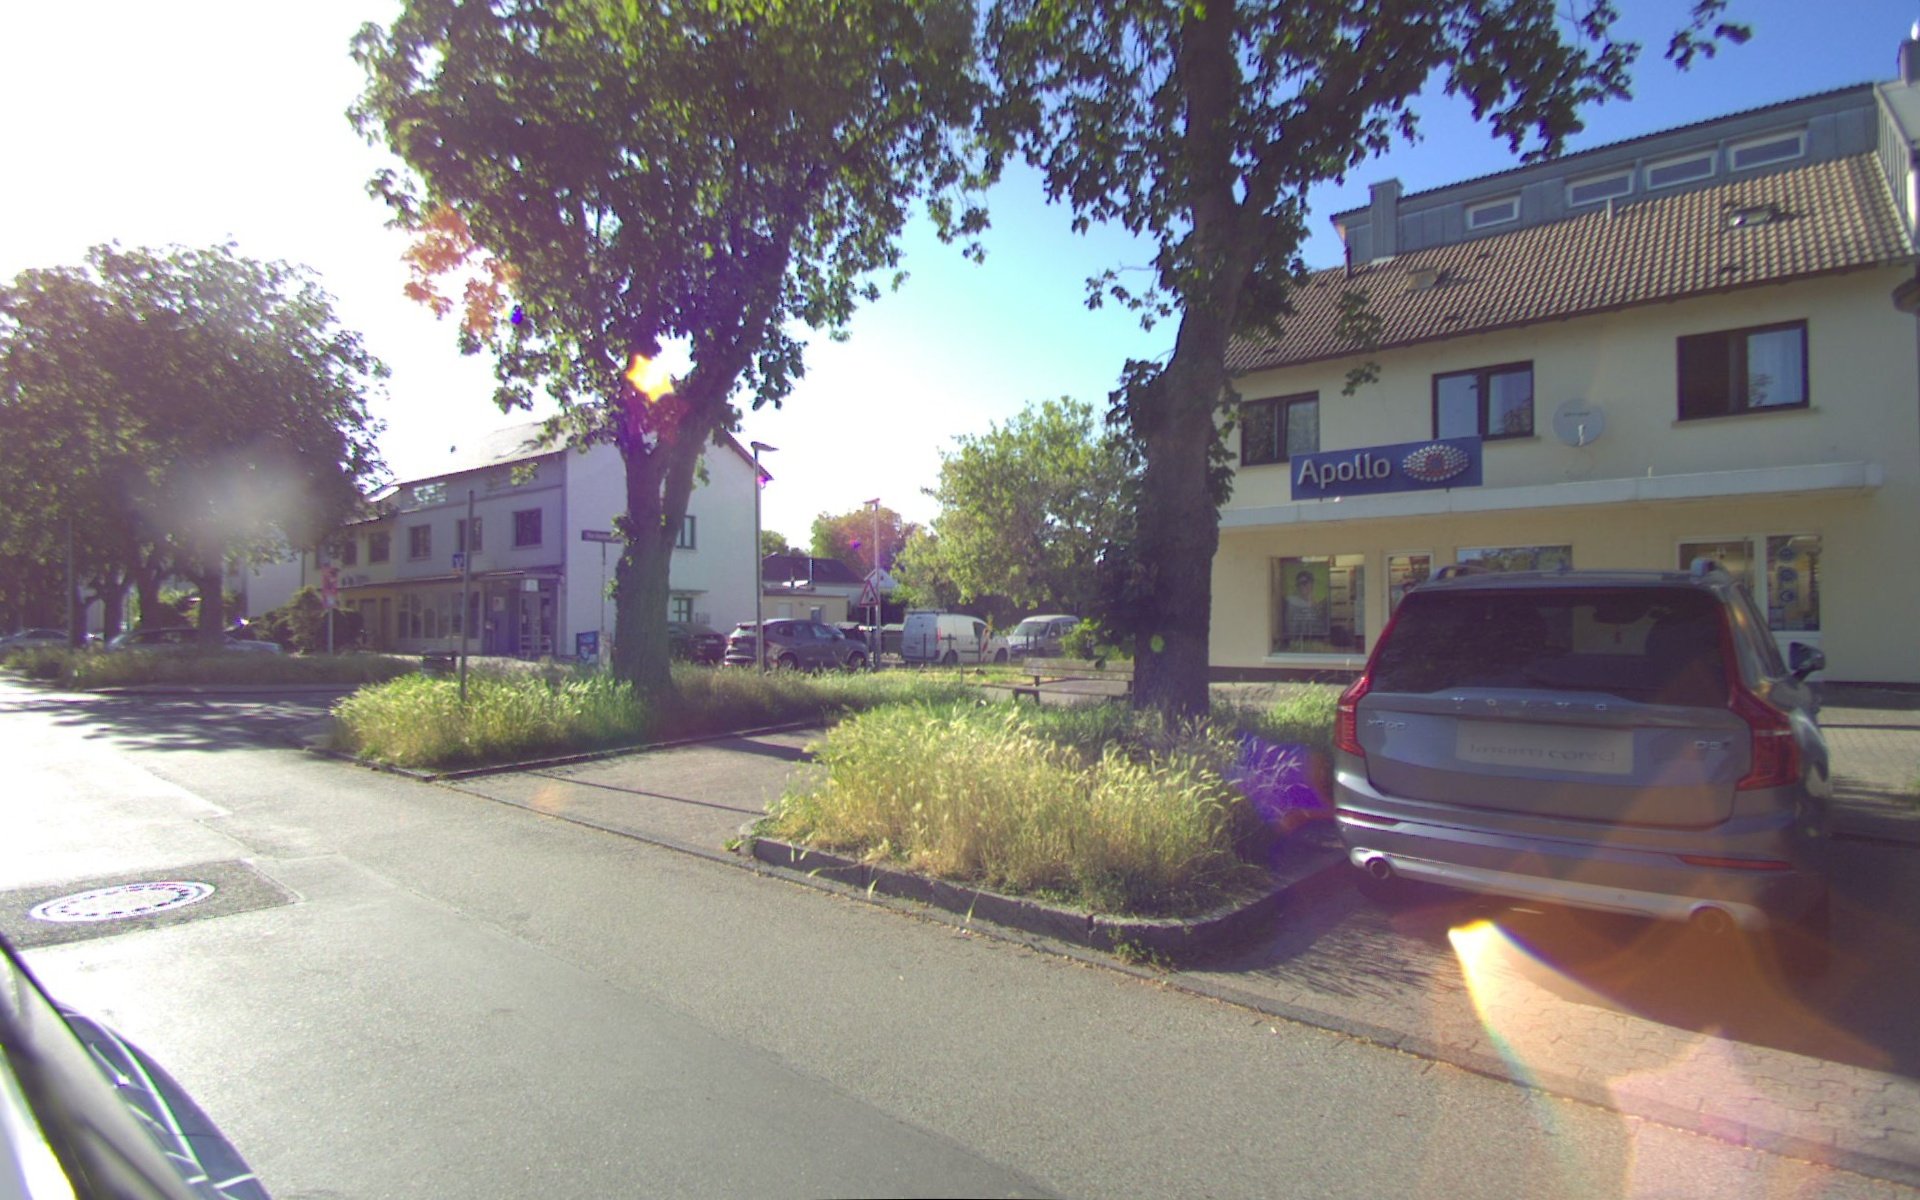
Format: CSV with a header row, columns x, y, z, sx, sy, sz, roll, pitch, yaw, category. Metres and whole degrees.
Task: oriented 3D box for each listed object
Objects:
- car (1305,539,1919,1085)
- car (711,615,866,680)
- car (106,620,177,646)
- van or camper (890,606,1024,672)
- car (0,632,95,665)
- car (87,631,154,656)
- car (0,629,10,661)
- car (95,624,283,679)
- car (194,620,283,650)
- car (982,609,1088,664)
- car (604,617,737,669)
x,y,z,sx,sy,sz,roll,pitch,yaw,category
3.831,0.575,5.774,1.997,1.740,5.014,-1,2,38,car
-4.649,1.273,27.894,1.996,1.650,3.952,-1,-2,35,car
-63.555,2.517,78.645,1.999,1.696,3.946,-1,2,41,car
-0.033,1.248,33.614,1.998,2.029,4.626,-1,-1,39,van or camper
-44.588,2.328,49.126,1.622,1.333,3.651,-1,1,36,car
-69.506,3.595,83.850,1.999,1.696,3.946,-1,2,41,car
-49.384,2.317,51.014,3.696,1.550,1.972,-1,2,44,car
-23.850,1.542,31.420,1.999,1.426,4.336,-1,0,41,car
-39.257,1.901,55.102,1.692,1.577,3.722,-1,-2,45,car
2.822,1.307,37.348,1.998,1.844,3.948,-1,-1,39,car
-10.238,1.451,35.646,4.901,1.575,1.975,1,0,37,car
